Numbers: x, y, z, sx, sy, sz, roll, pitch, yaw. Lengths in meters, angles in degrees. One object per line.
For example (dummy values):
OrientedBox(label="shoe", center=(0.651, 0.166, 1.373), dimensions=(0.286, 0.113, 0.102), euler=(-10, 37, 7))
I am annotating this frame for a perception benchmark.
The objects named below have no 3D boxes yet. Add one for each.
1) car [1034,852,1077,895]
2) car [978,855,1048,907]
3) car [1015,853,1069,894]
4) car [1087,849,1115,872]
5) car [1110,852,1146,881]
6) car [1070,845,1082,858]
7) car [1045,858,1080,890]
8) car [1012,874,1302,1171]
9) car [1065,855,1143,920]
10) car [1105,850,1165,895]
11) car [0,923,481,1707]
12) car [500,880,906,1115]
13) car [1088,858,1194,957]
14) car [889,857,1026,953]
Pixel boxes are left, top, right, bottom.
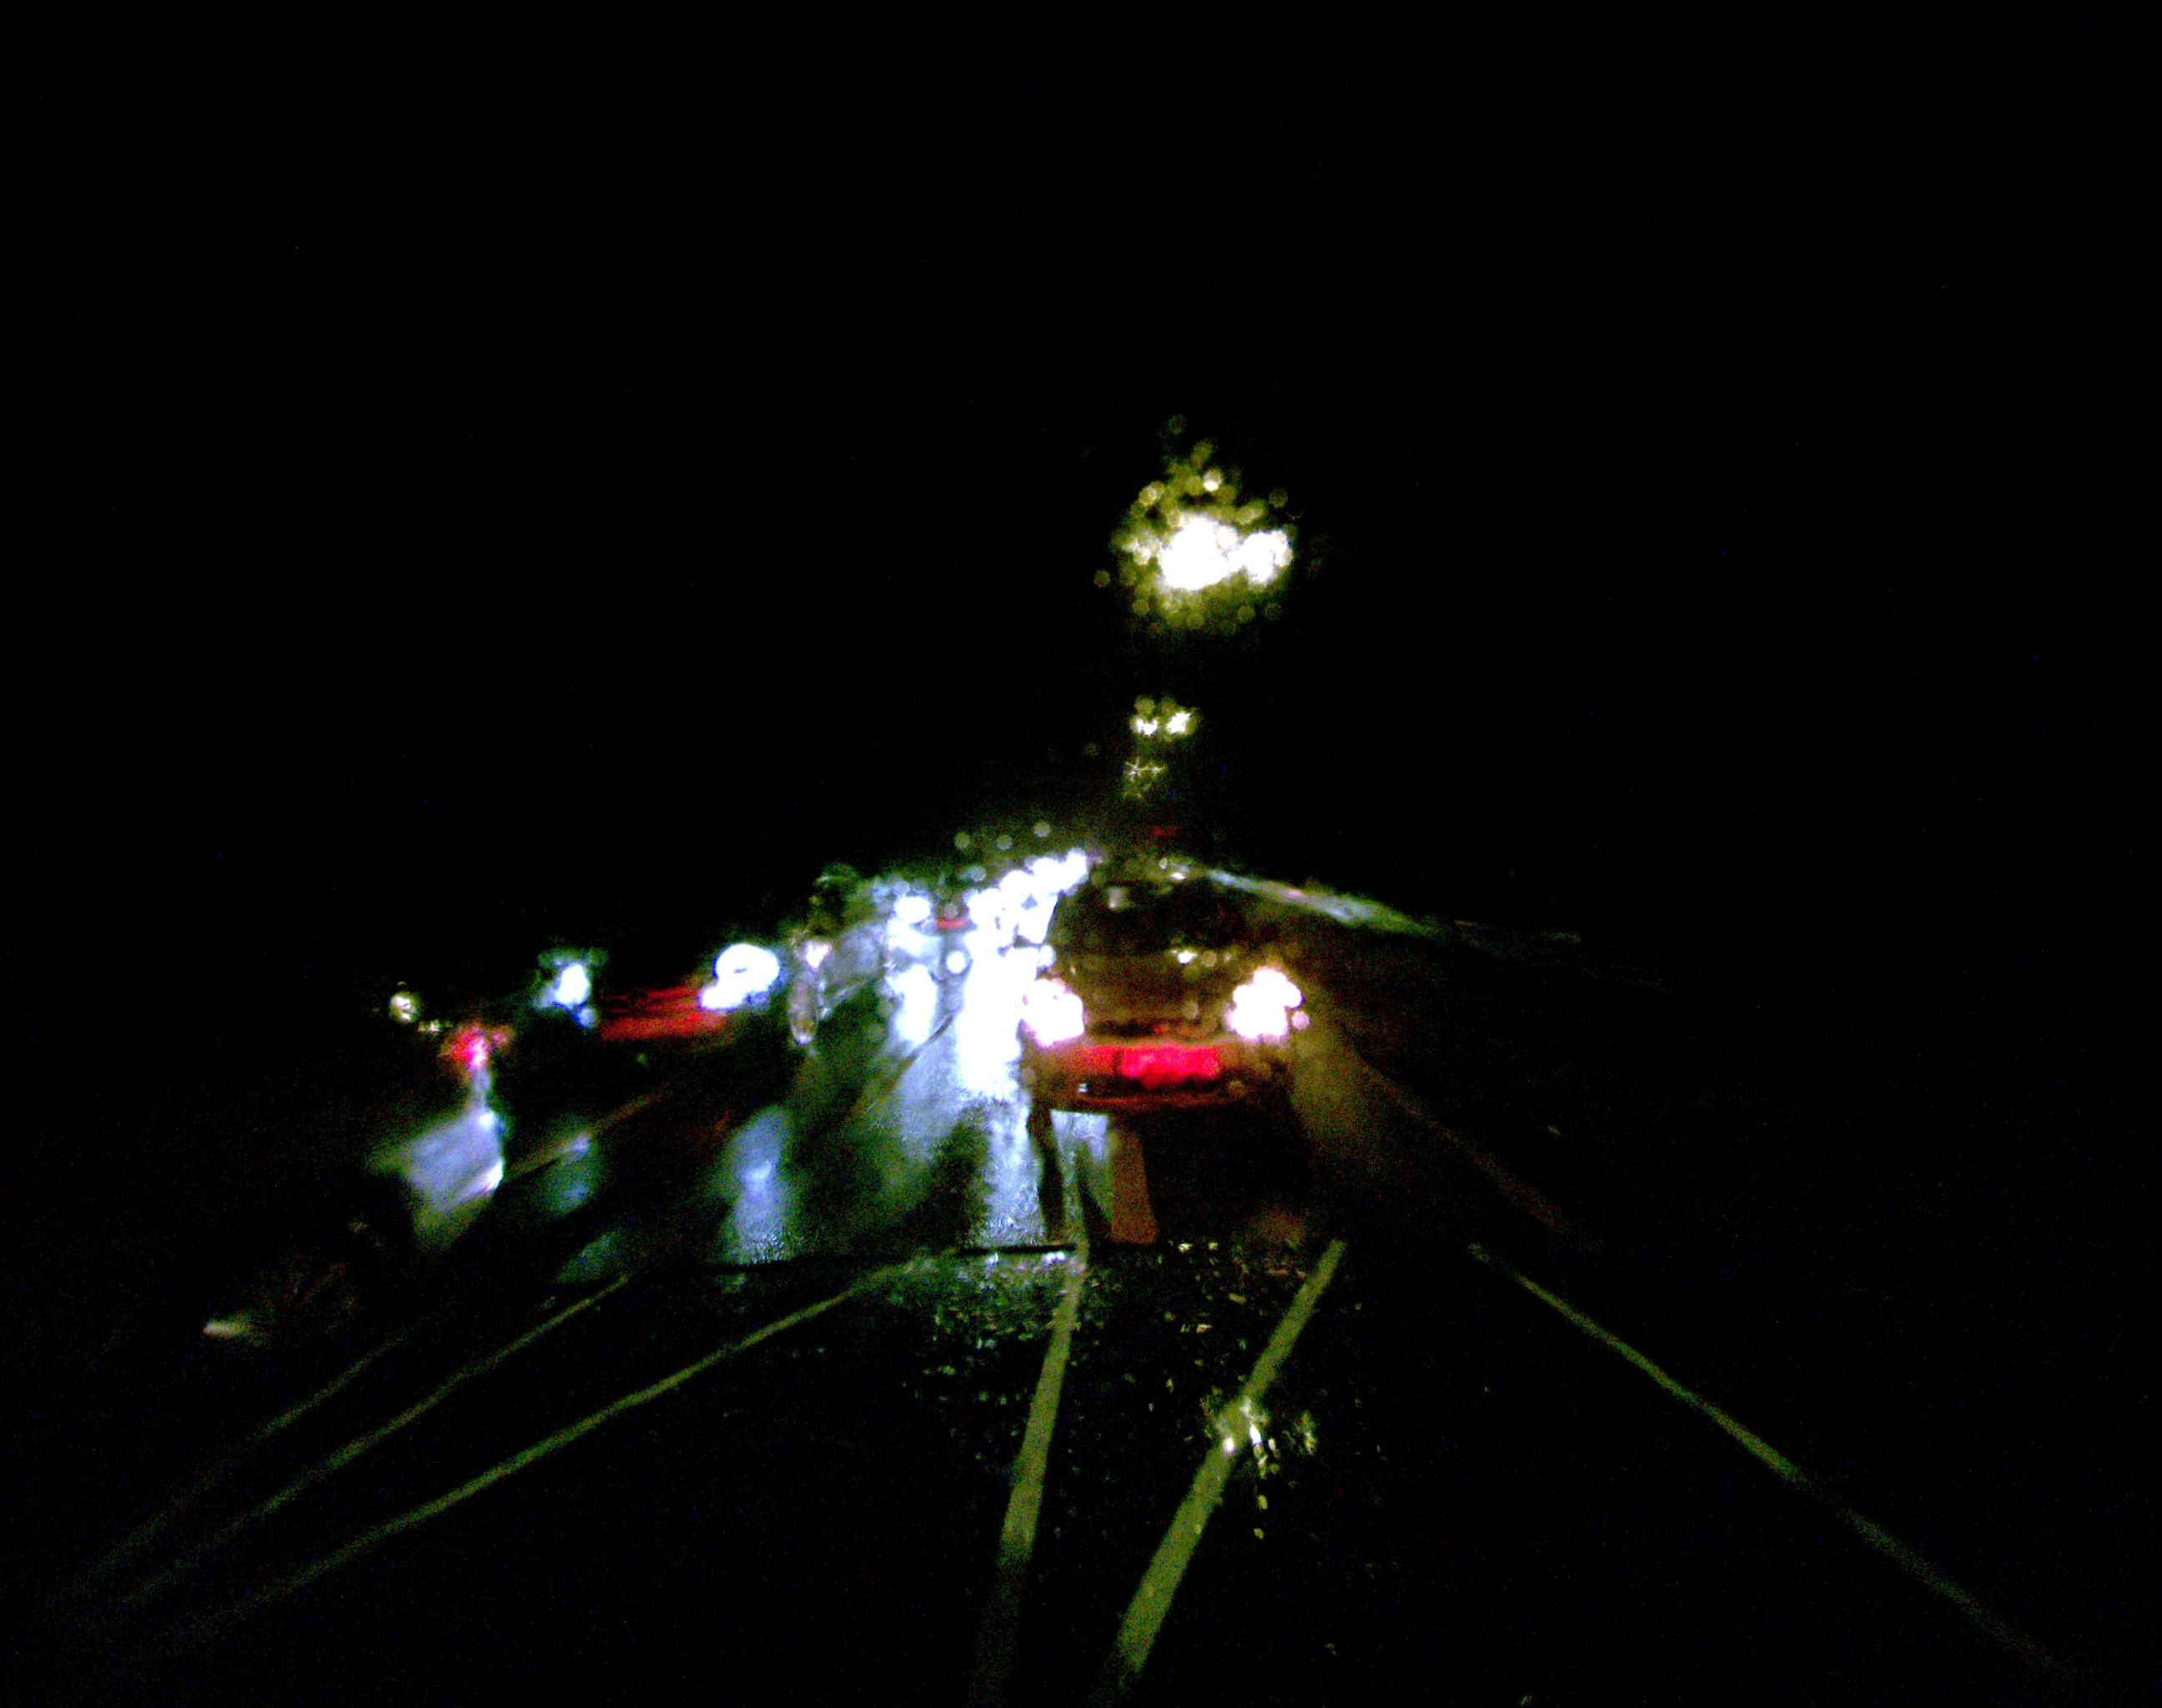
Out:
OrientedBox(label="car", center=(-1.279, 0.968, 39.633), dimensions=(1.998, 2.002, 3.999), euler=(-2, 1, 1))
OrientedBox(label="car", center=(-2.297, 0.873, 26.757), dimensions=(1.998, 1.589, 4.391), euler=(-1, 1, 1))
OrientedBox(label="car", center=(-1.611, 0.790, 32.966), dimensions=(1.998, 1.589, 4.391), euler=(-1, 1, 1))
OrientedBox(label="car", center=(1.430, 0.427, 55.770), dimensions=(1.998, 1.589, 4.391), euler=(-1, 1, 1))
OrientedBox(label="car", center=(2.818, 0.706, 45.616), dimensions=(1.998, 1.574, 4.000), euler=(-2, 1, 3))
OrientedBox(label="car", center=(-0.796, -0.433, 129.621), dimensions=(1.998, 2.002, 3.999), euler=(-1, 1, 0))
OrientedBox(label="car", center=(-1.100, 1.213, 47.740), dimensions=(1.998, 1.789, 4.000), euler=(-1, 0, 1))
OrientedBox(label="car", center=(0.434, 0.961, 5.801), dimensions=(1.497, 1.416, 3.389), euler=(-3, 1, 1))
OrientedBox(label="car", center=(0.586, 0.833, 20.633), dimensions=(1.838, 1.417, 3.698), euler=(-4, 1, 1))
OrientedBox(label="car", center=(1.988, 0.635, 28.968), dimensions=(1.998, 1.497, 3.999), euler=(-2, 1, 1))
OrientedBox(label="car", center=(-3.076, 1.056, 0.499), dimensions=(1.711, 1.513, 4.414), euler=(-2, 1, 1))
OrientedBox(label="car", center=(-3.137, 1.084, 7.416), dimensions=(1.743, 1.409, 4.139), euler=(-2, 1, 1))
OrientedBox(label="car", center=(0.985, 0.865, 13.832), dimensions=(1.606, 1.417, 3.389), euler=(-4, 1, 1))
OrientedBox(label="car", center=(-2.321, 0.906, 15.524), dimensions=(1.998, 1.589, 4.391), euler=(-1, 1, 1))
